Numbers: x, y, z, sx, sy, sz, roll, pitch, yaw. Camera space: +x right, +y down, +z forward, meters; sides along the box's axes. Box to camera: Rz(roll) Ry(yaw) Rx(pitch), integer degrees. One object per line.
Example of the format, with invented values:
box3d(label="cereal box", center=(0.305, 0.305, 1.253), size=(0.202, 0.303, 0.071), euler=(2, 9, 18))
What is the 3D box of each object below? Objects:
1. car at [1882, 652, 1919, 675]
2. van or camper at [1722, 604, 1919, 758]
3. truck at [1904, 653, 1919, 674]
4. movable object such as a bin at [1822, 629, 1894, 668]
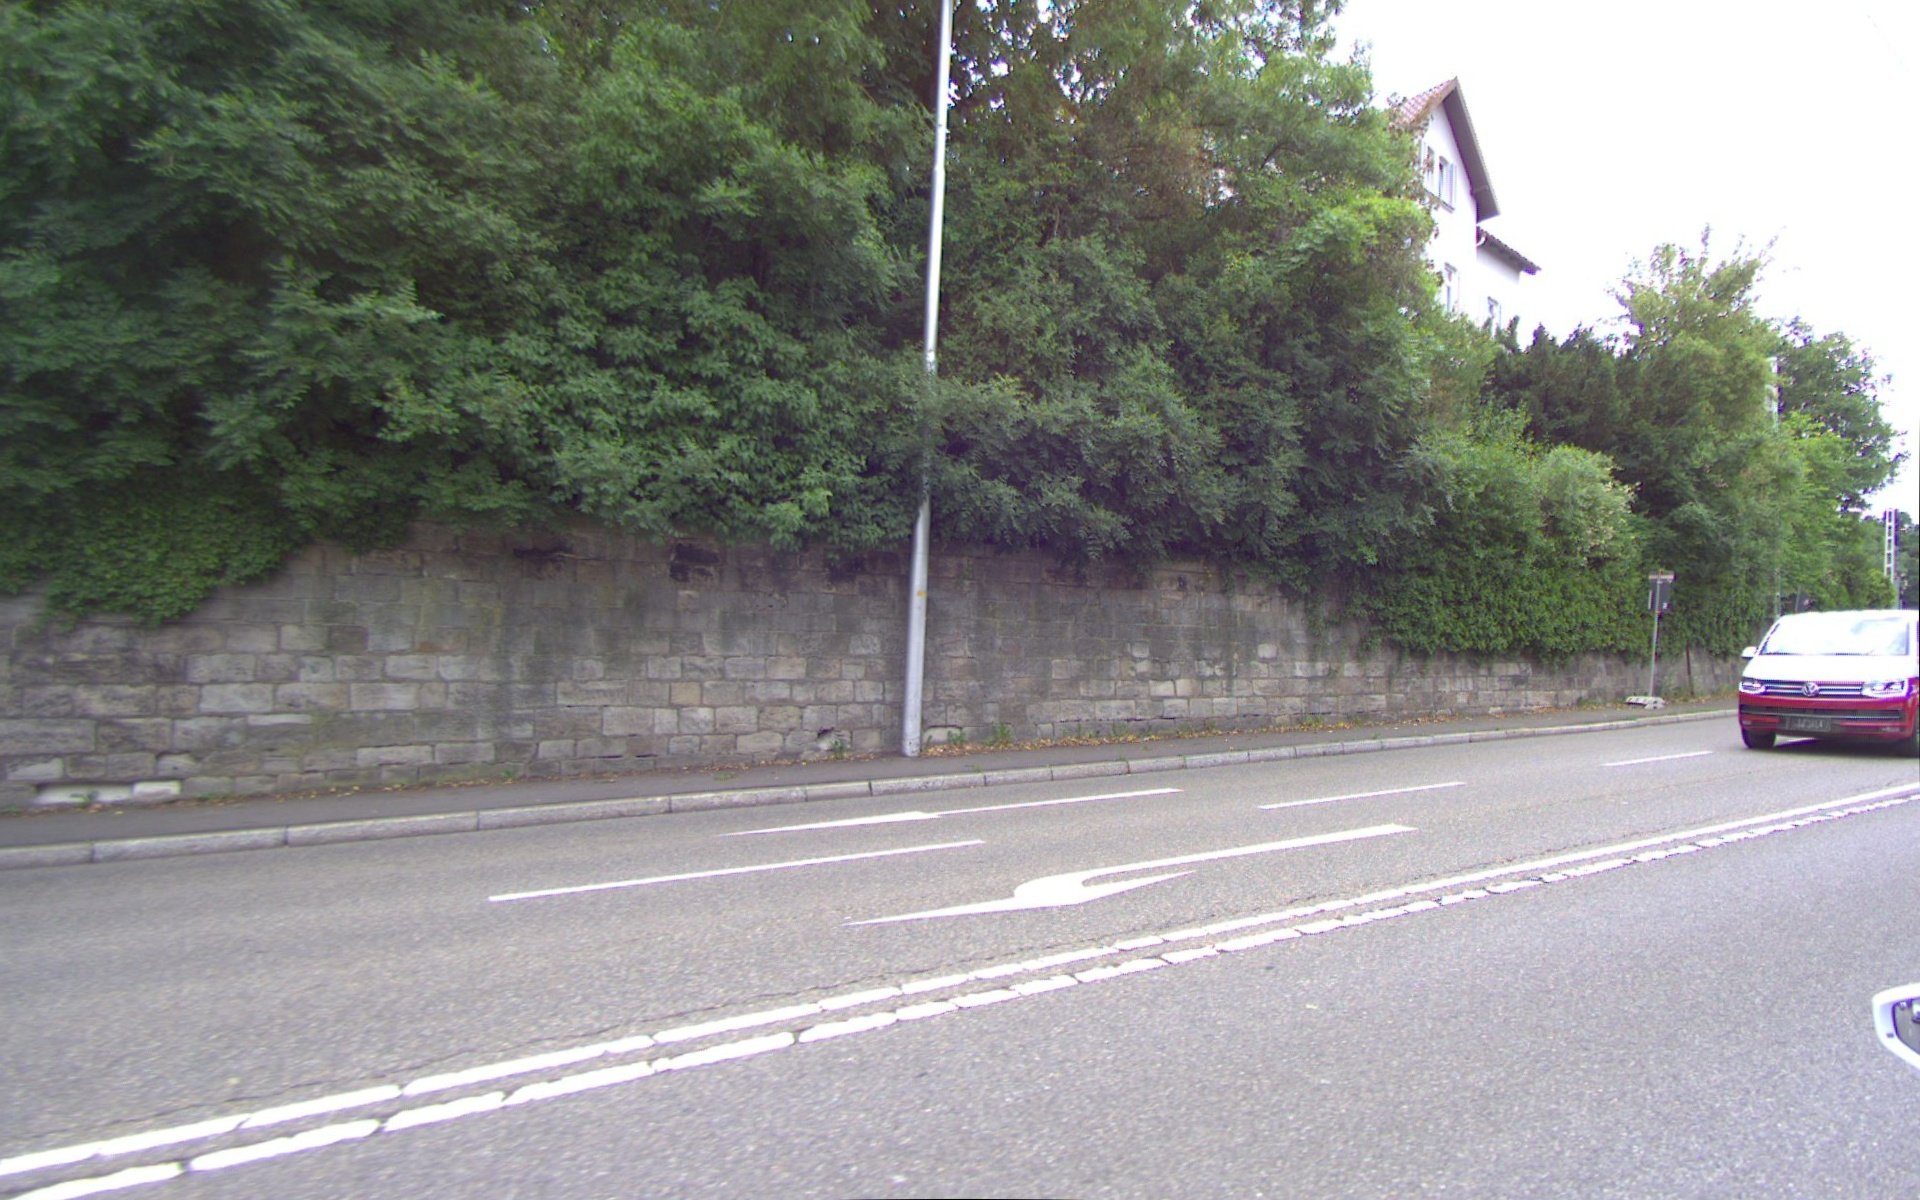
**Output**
box3d(label="car", center=(60.462, 4.053, 64.195), size=(1.872, 1.400, 3.985), euler=(-2, -4, 37))
box3d(label="van or camper", center=(13.078, 1.119, 14.597), size=(4.719, 1.902, 1.877), euler=(2, -4, -36))
box3d(label="truck", center=(69.756, 4.595, 72.659), size=(1.641, 1.461, 4.012), euler=(-2, -4, 36))
box3d(label="movable object such as a bin", center=(89.934, 4.791, 100.720), size=(3.478, 3.748, 7.486), euler=(-1, -3, 27))
